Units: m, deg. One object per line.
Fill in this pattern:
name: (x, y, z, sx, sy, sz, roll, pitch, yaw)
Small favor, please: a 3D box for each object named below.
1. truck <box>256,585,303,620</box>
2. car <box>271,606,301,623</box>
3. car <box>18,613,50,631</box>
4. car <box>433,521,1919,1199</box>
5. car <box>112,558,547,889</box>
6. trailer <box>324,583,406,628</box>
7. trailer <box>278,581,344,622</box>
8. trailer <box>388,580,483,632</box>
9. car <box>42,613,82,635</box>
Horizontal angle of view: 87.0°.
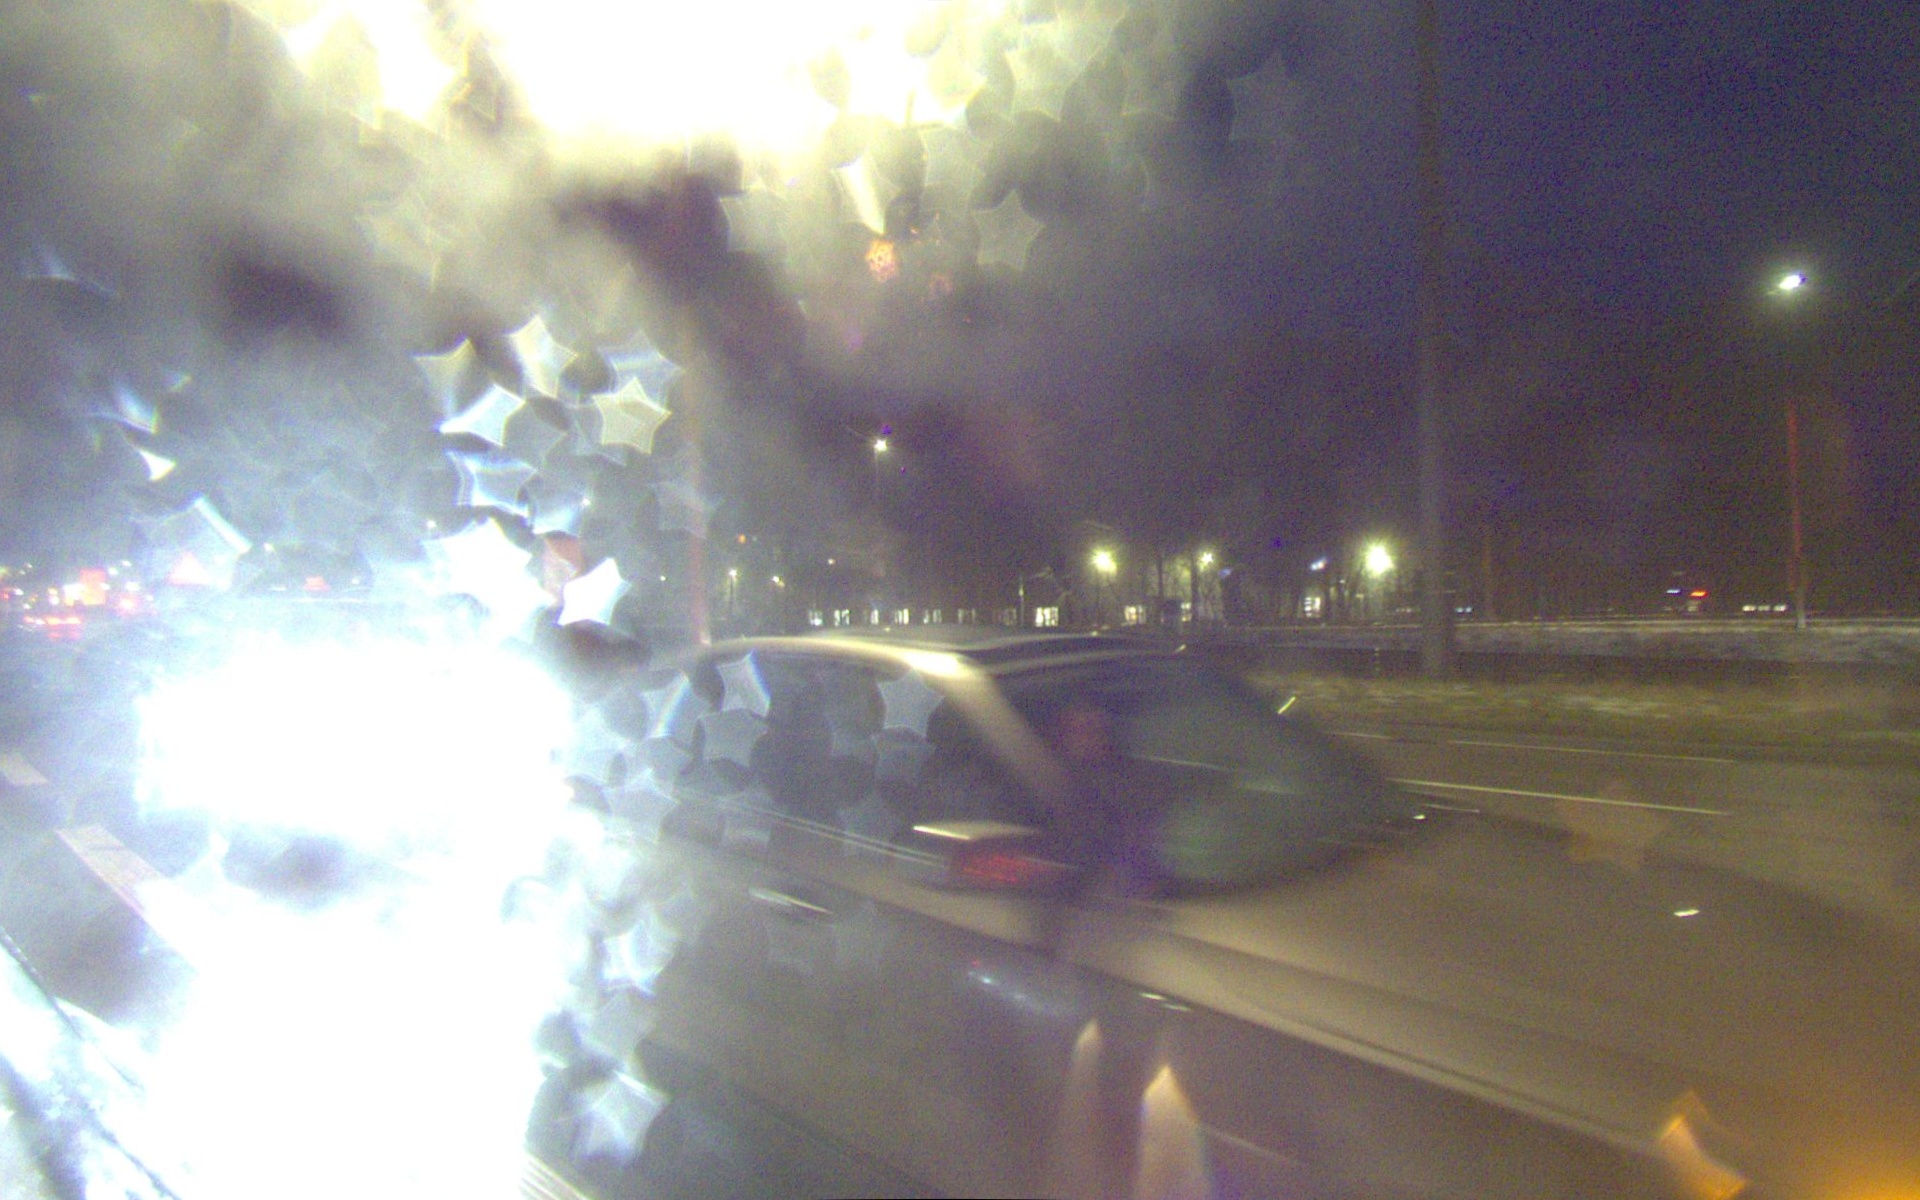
truck: (-98.417, 0.355, 146.192, 10.218, 4.643, 3.401, 0, 4, 45)
car: (-72.029, 1.575, 108.132, 4.219, 1.706, 1.767, -2, 1, 44)
car: (-84.970, 2.003, 92.851, 4.030, 1.600, 1.782, 0, 1, 43)
car: (0.315, 0.722, 2.822, 4.435, 1.522, 1.764, -1, -2, 43)
car: (-4.978, 0.706, 7.681, 4.437, 1.795, 1.764, -2, -1, 44)
trailer: (-68.024, 0.540, 115.402, 15.523, 4.643, 3.927, 0, 4, 45)
trailer: (-86.181, 0.138, 134.194, 14.843, 5.049, 3.927, 0, 4, 45)
trailer: (-52.114, 0.520, 100.164, 14.255, 4.643, 3.927, 0, 4, 45)
car: (-70.713, 1.868, 79.673, 4.651, 1.654, 1.743, -1, 1, 42)
